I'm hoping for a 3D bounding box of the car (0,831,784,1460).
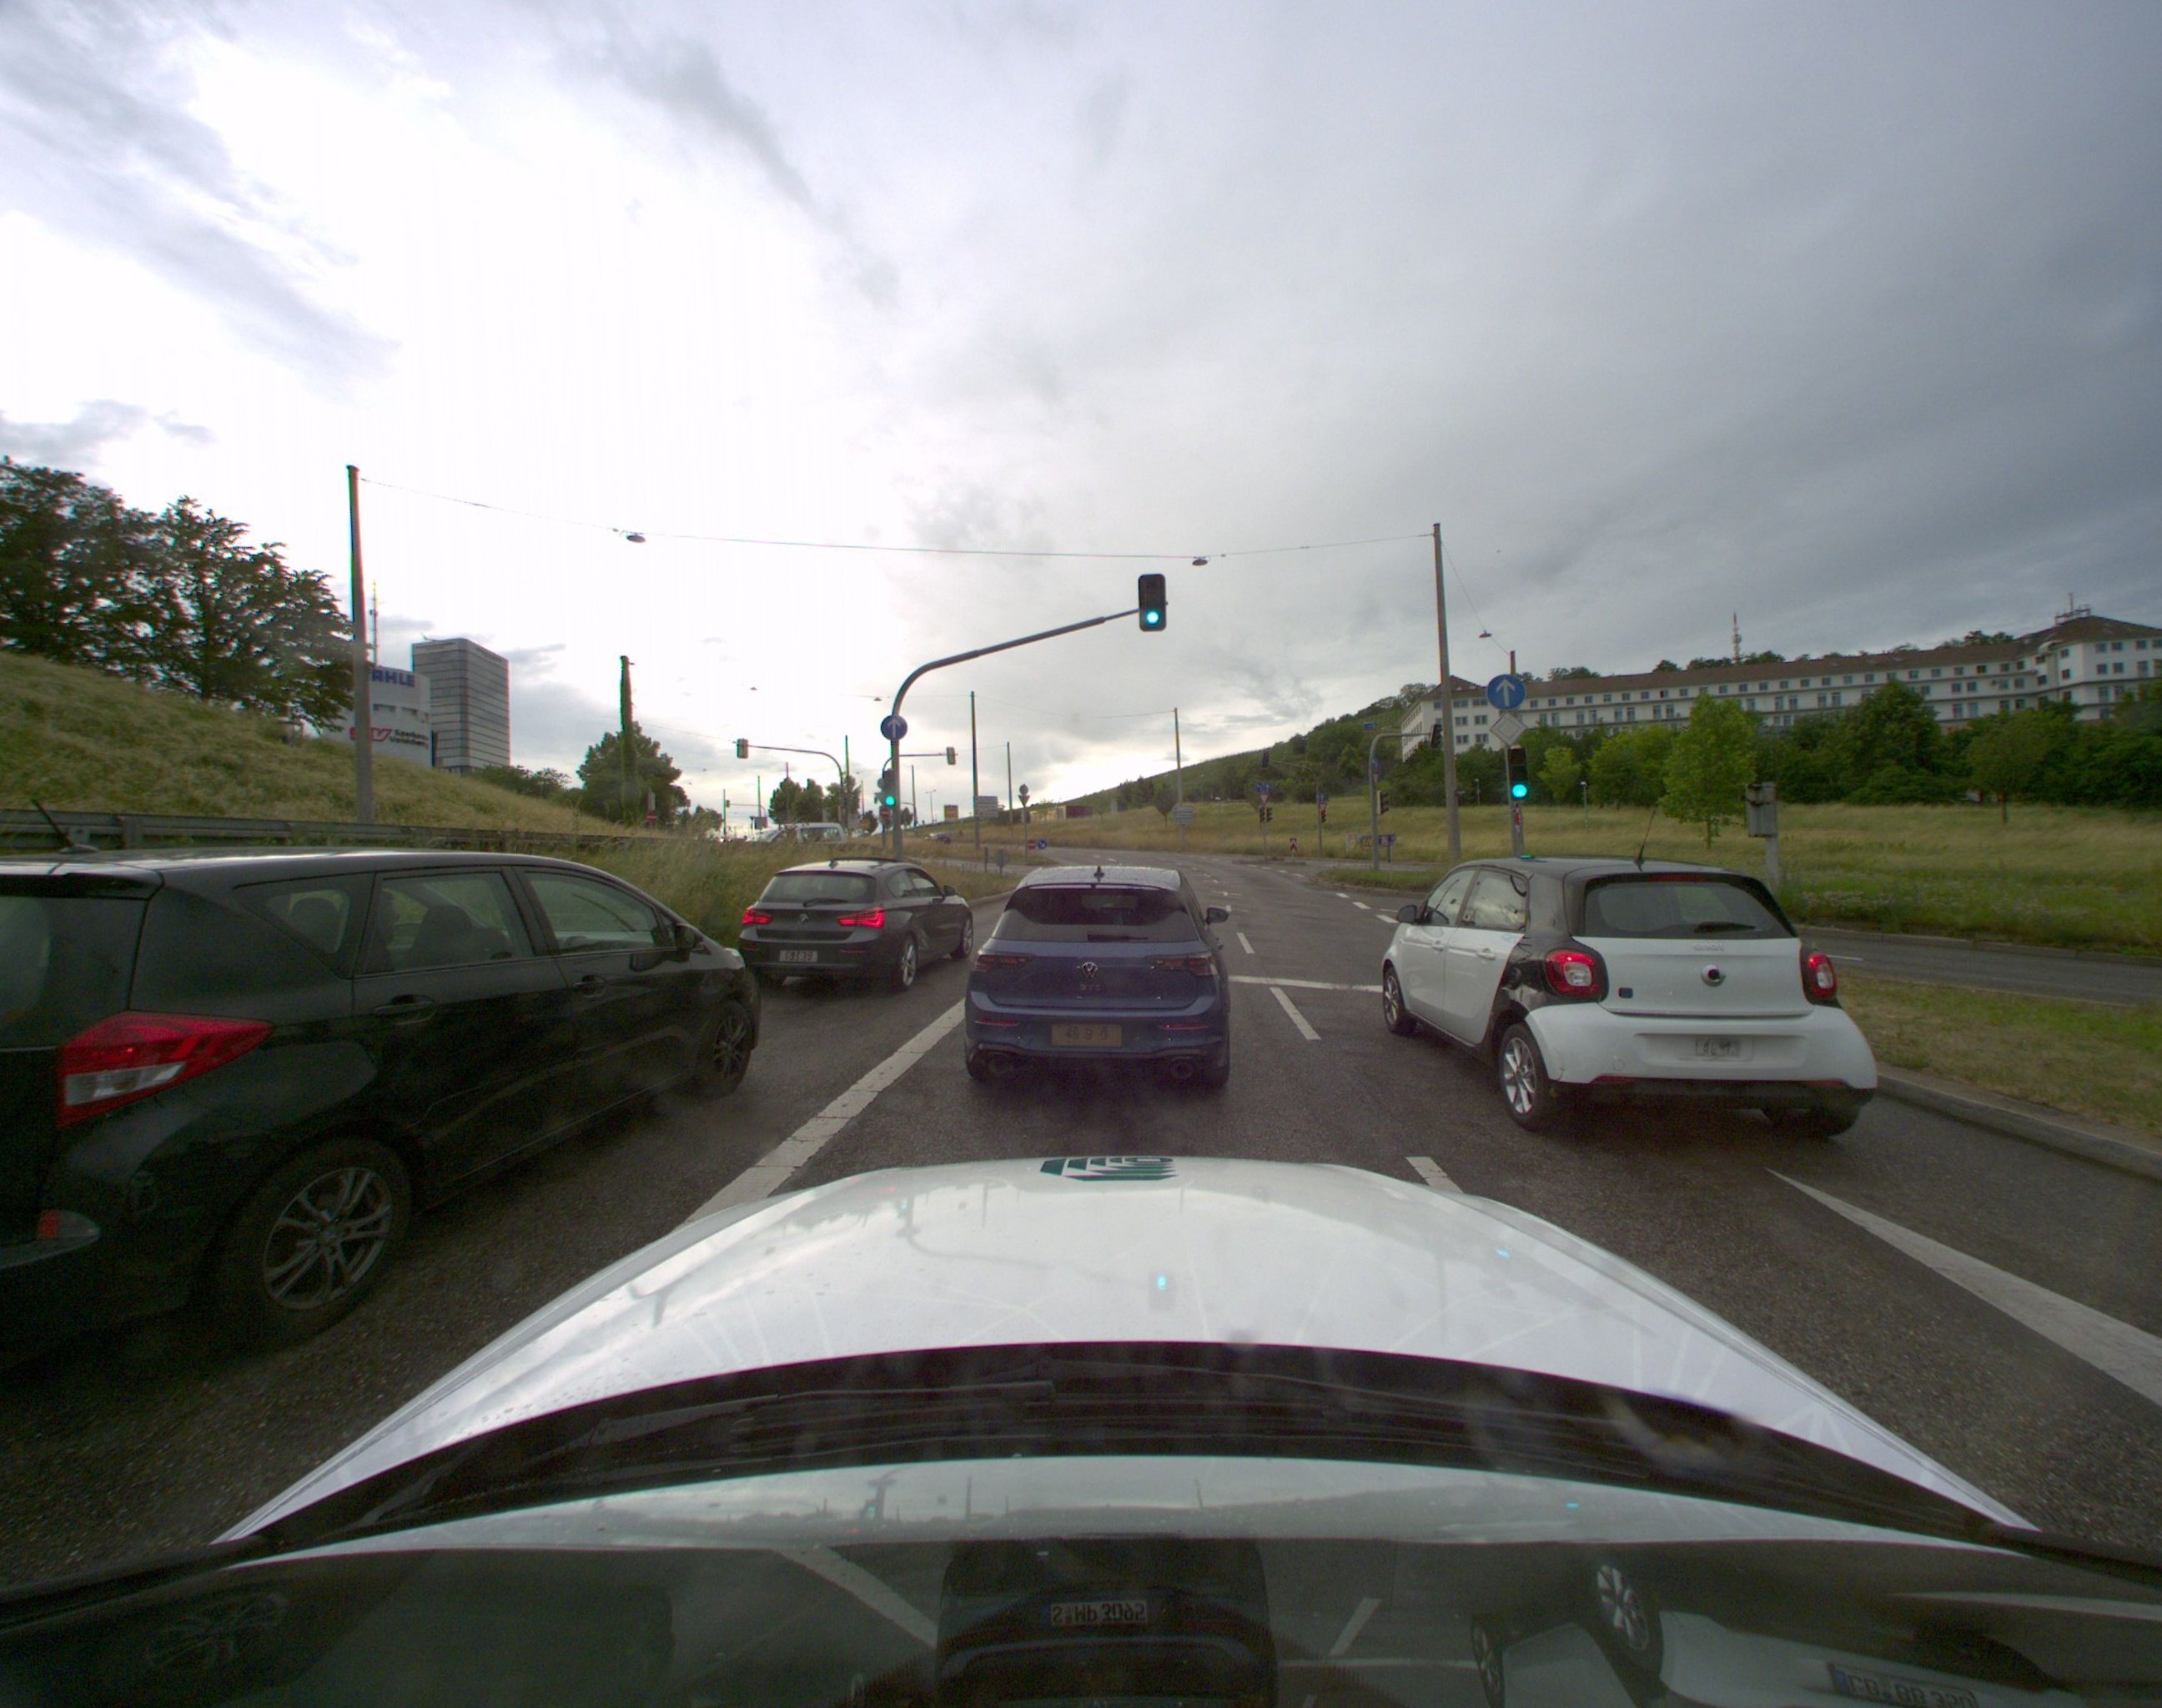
[{"bbox_3d":[-3.061,0.690,3.906,1.635,1.504,3.782,2,0,4],"label":"car"}]

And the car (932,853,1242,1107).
[{"bbox_3d":[0.257,0.734,6.677,1.815,1.460,3.816,-1,0,7],"label":"car"}]

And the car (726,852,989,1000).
[{"bbox_3d":[-2.510,0.733,10.279,1.693,1.459,4.123,-1,0,7],"label":"car"}]

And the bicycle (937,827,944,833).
[{"bbox_3d":[-21.462,-3.663,124.037,0.521,0.775,1.605,1,1,-31],"label":"bicycle"}]

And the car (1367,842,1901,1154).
[{"bbox_3d":[3.301,0.726,5.731,1.649,1.503,3.456,-1,-1,6],"label":"car"}]

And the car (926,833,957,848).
[{"bbox_3d":[-15.502,-1.453,90.186,2.005,1.618,4.808,0,0,-28],"label":"car"}]

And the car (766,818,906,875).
[{"bbox_3d":[-8.663,-0.338,29.253,1.798,1.849,4.729,-1,2,32],"label":"car"}]

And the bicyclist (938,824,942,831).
[{"bbox_3d":[-21.479,-3.968,124.082,0.526,1.046,0.575,2,0,-30],"label":"bicyclist"}]

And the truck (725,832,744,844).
[{"bbox_3d":[-90.705,-4.197,213.296,3.282,3.074,6.109,2,0,-36],"label":"truck"}]
